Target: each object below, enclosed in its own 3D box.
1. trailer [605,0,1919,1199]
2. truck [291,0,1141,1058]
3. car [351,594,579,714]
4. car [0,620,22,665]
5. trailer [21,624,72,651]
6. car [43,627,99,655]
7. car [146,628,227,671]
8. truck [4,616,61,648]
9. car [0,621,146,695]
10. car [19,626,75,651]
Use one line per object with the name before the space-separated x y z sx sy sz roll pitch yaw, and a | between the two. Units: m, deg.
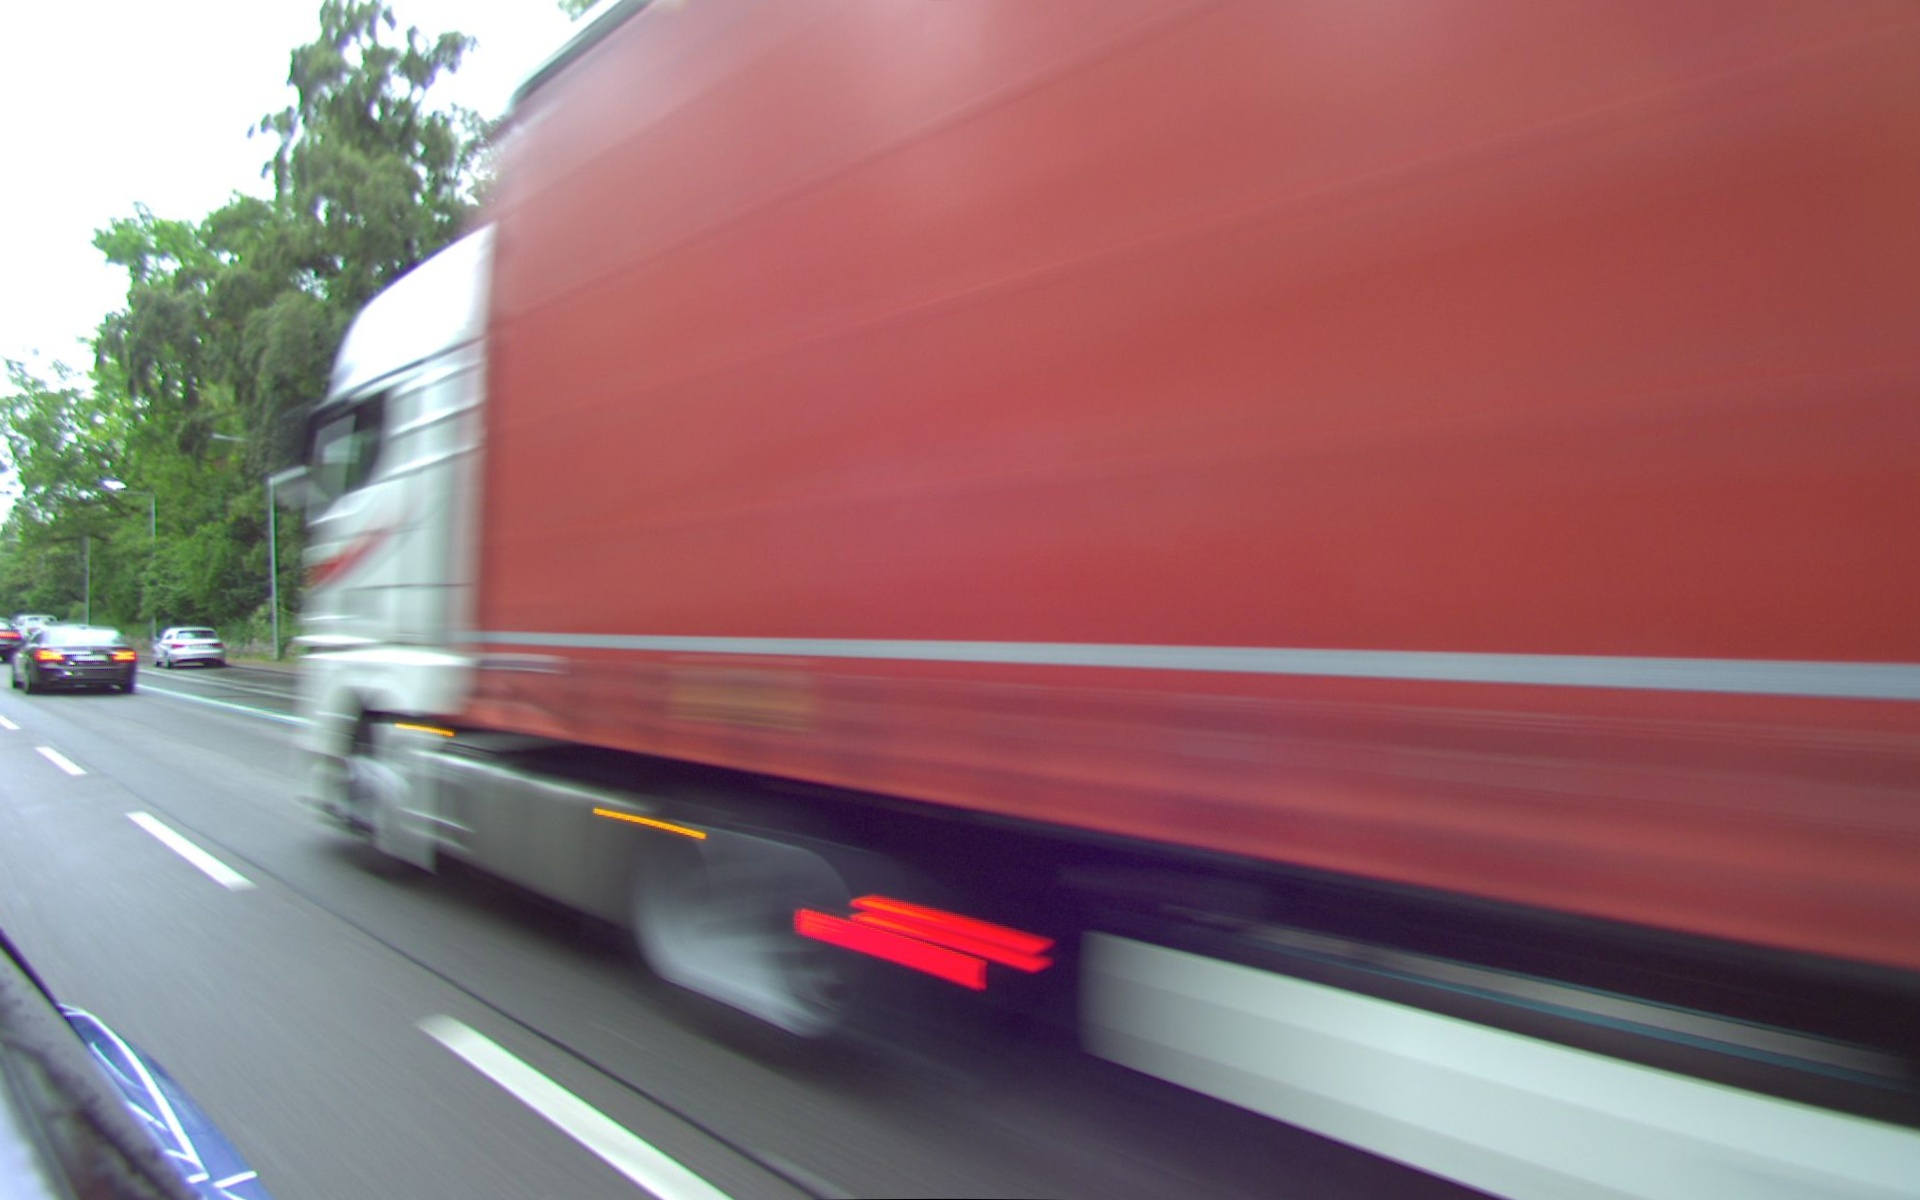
trailer | 4.448 -0.732 0.318 12.764 4.292 2.659 -1 -4 42
truck | -1.723 -0.479 5.934 4.917 4.077 2.490 -1 -4 44
car | -9.604 0.971 19.452 5.011 2.020 1.955 -2 -1 38
car | -36.831 1.574 38.001 4.465 1.629 1.940 -1 -3 42
trailer | -57.166 2.332 63.362 1.329 1.670 2.271 0 -1 -10
car | -48.590 2.207 55.289 4.354 1.446 1.736 -1 -2 41
car | -27.753 1.740 36.283 4.028 1.416 1.672 -2 -1 43
truck | -61.372 2.074 66.956 5.154 2.029 2.072 -1 -1 39
car | -19.685 1.237 22.372 4.619 1.468 1.894 -1 -3 42
car | -53.638 2.257 59.432 4.441 1.409 1.803 -2 -2 39
